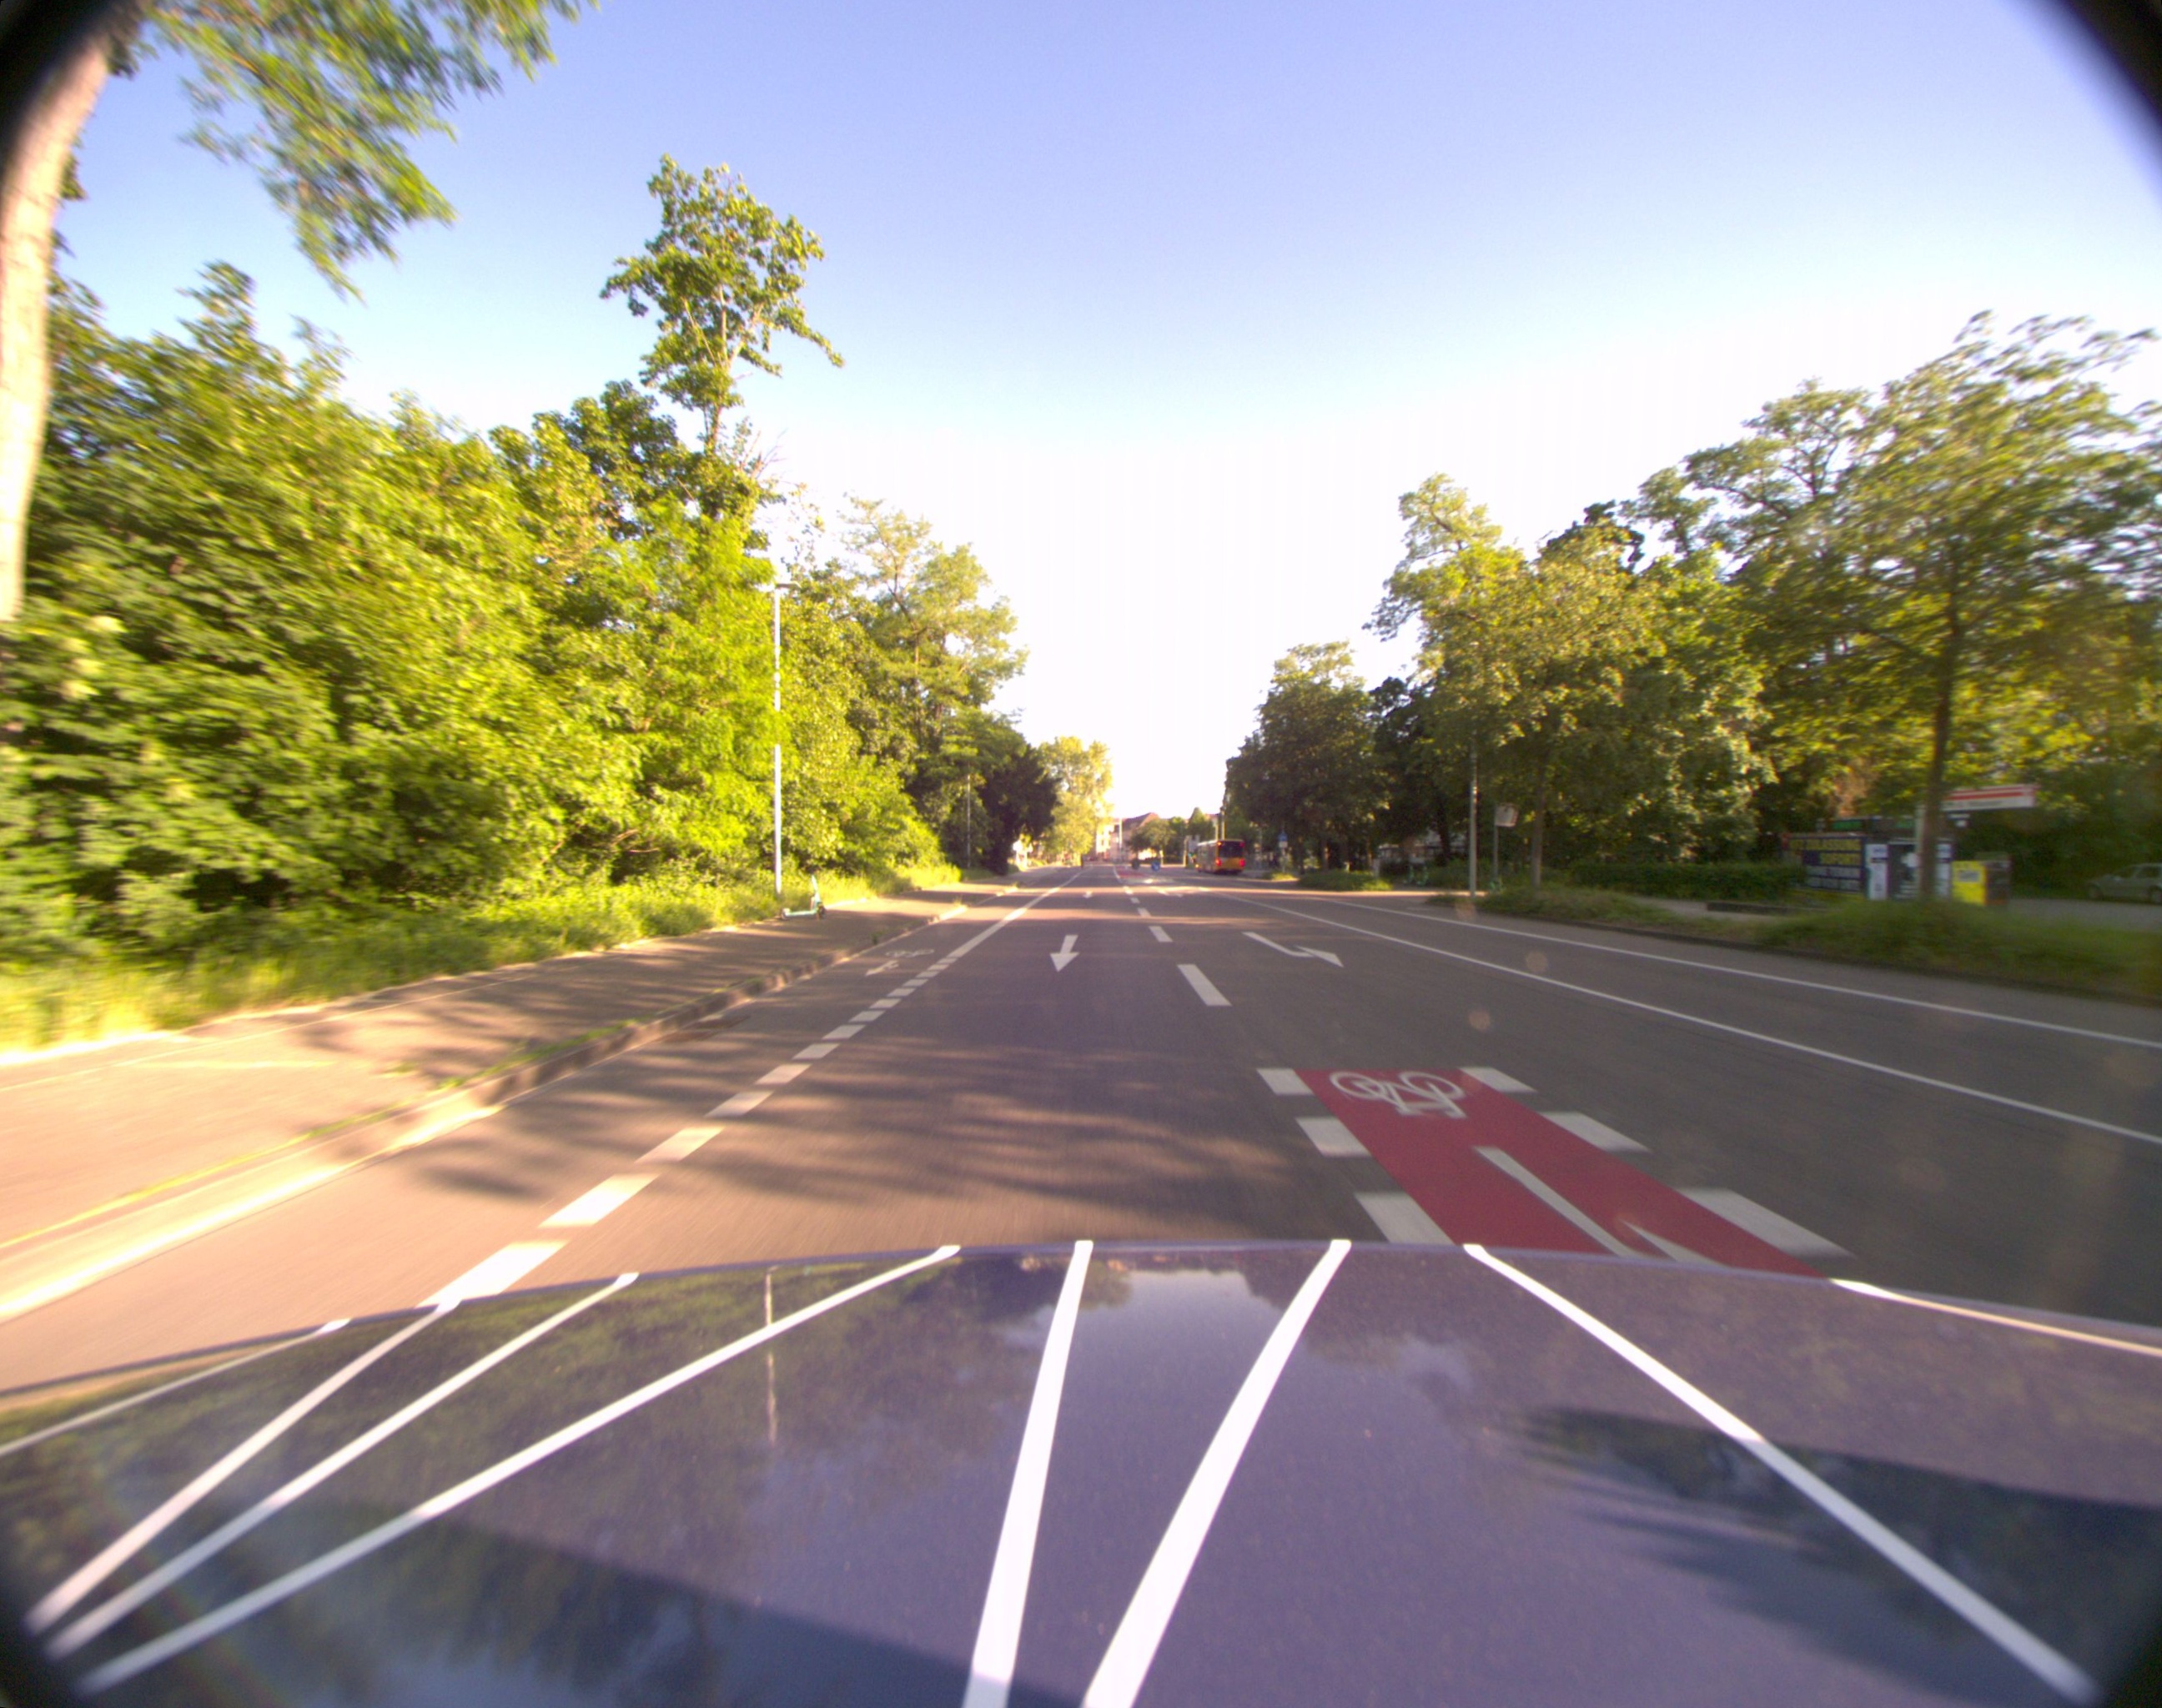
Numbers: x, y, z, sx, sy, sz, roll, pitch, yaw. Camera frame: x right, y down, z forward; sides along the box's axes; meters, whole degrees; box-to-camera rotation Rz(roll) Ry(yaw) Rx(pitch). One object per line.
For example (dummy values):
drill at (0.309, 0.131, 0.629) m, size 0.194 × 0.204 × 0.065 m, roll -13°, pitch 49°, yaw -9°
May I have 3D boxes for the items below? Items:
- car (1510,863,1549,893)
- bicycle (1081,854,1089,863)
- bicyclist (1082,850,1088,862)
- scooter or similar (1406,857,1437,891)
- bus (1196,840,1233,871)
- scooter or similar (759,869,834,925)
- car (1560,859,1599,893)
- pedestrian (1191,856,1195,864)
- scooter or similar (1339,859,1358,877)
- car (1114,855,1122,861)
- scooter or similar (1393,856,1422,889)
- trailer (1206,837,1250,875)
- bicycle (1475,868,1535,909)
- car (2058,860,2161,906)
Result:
car at (23.262, 1.223, 39.338) m, size 1.558 × 1.392 × 3.498 m, roll 3°, pitch 1°, yaw 32°
bicycle at (0.525, 0.564, 100.299) m, size 0.694 × 1.089 × 2.138 m, roll 1°, pitch 0°, yaw 12°
bicyclist at (0.531, 0.269, 100.305) m, size 0.694 × 1.482 × 0.801 m, roll 1°, pitch 1°, yaw 12°
scooter or similar at (17.523, 0.993, 39.123) m, size 0.829 × 1.707 × 1.741 m, roll 1°, pitch 0°, yaw 1°
bus at (14.520, 0.107, 82.957) m, size 2.847 × 3.178 × 8.601 m, roll 1°, pitch 0°, yaw 2°
scooter or similar at (-6.635, 0.982, 17.756) m, size 1.544 × 1.242 × 0.533 m, roll 0°, pitch 1°, yaw -43°
car at (25.446, 1.089, 38.849) m, size 1.558 × 1.641 × 3.498 m, roll 1°, pitch 0°, yaw 32°
pedestrian at (22.997, 1.215, 156.336) m, size 0.691 × 1.672 × 0.681 m, roll 1°, pitch 1°, yaw 10°
scooter or similar at (19.446, 1.025, 55.267) m, size 0.829 × 1.303 × 1.571 m, roll 1°, pitch 0°, yaw 1°
car at (8.501, 0.842, 174.973) m, size 1.722 × 1.409 × 4.526 m, roll 0°, pitch 0°, yaw 0°
scooter or similar at (17.611, 0.980, 41.065) m, size 0.829 × 1.707 × 1.741 m, roll 1°, pitch 0°, yaw 1°
trailer at (14.154, 0.169, 73.976) m, size 2.861 × 3.336 × 9.363 m, roll -2°, pitch 0°, yaw 3°
bicycle at (14.123, 1.127, 25.360) m, size 0.656 × 1.243 × 2.158 m, roll 0°, pitch 0°, yaw -4°
car at (38.245, 1.015, 27.276) m, size 1.995 × 1.527 × 4.027 m, roll 1°, pitch 0°, yaw 19°
